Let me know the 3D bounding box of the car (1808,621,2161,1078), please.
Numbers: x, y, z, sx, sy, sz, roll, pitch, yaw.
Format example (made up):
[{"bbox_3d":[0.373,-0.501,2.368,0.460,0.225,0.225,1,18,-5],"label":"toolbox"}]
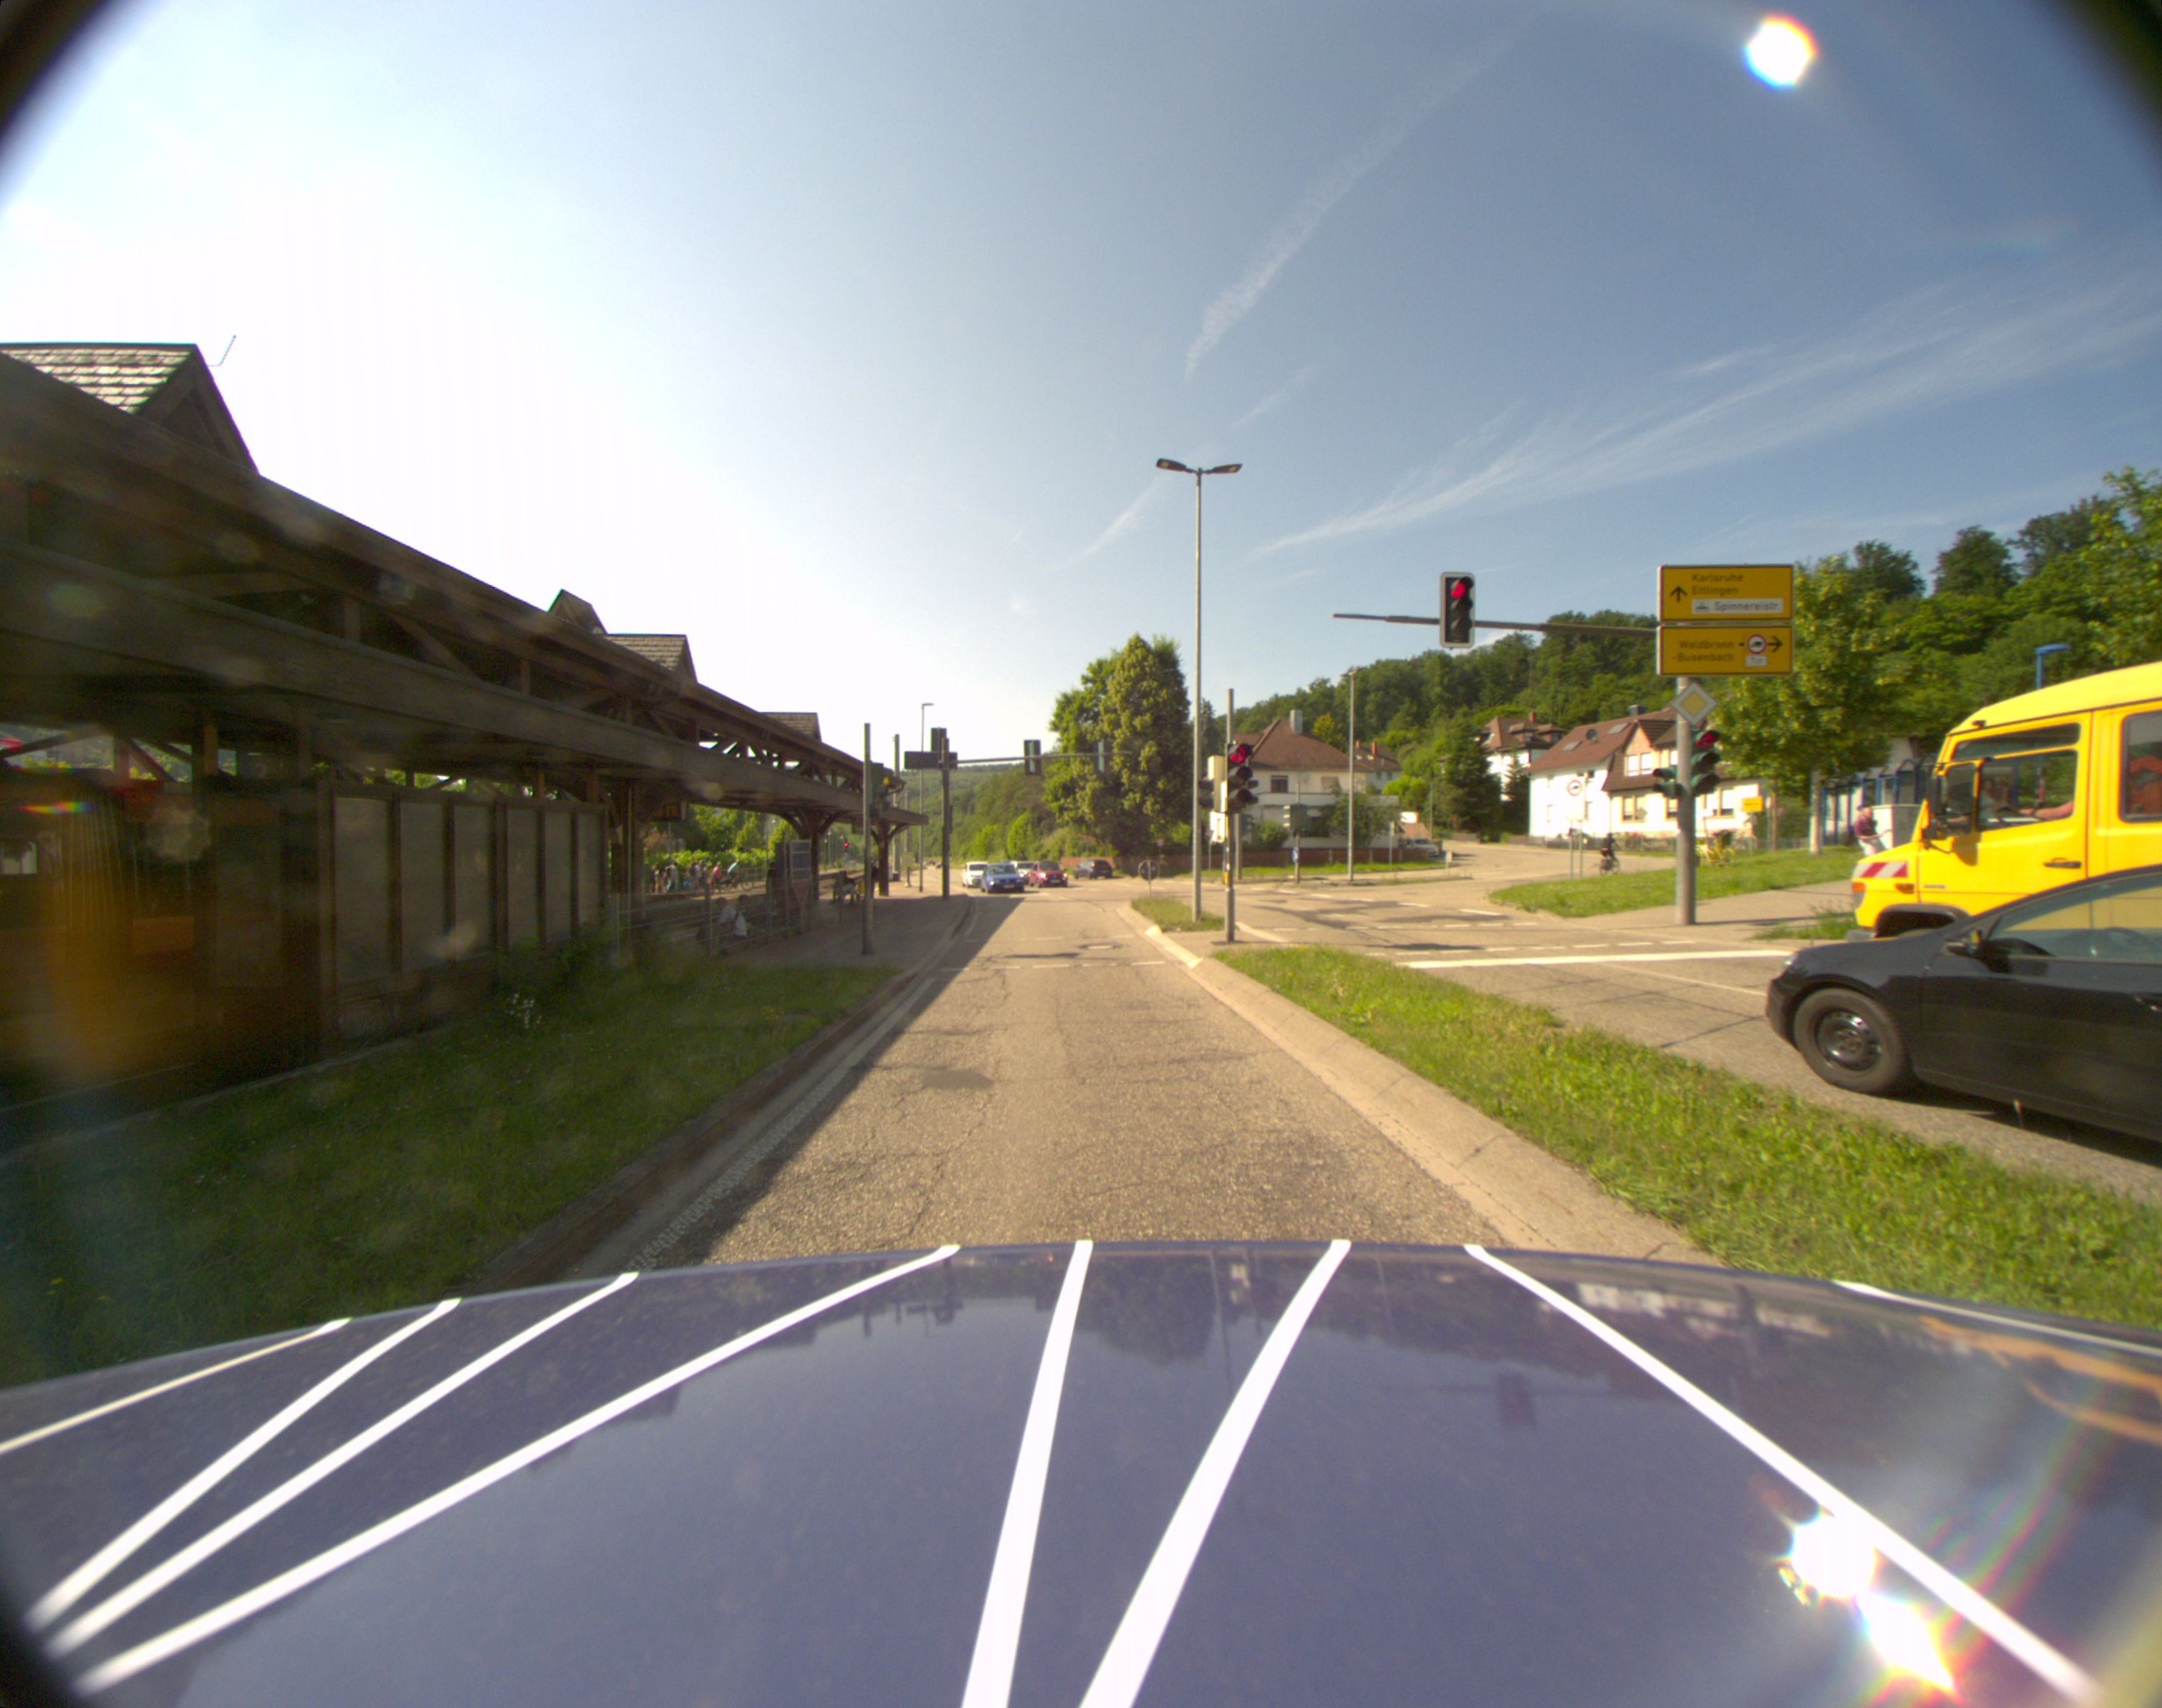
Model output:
[{"bbox_3d":[8.335,-0.065,4.085,2.474,2.993,6.464,-3,0,-2],"label":"car"}]

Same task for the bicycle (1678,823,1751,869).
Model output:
[{"bbox_3d":[18.735,-0.210,22.526,0.620,1.247,1.758,-6,-2,3],"label":"bicycle"}]

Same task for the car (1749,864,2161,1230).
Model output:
[{"bbox_3d":[5.321,0.809,3.003,1.750,1.454,4.043,-1,0,-2],"label":"car"}]

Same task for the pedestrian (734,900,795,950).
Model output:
[{"bbox_3d":[-6.107,1.361,14.693,0.847,0.869,0.807,-3,-1,-6],"label":"pedestrian"}]

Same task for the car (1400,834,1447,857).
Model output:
[{"bbox_3d":[26.998,-0.626,59.996,1.938,1.627,4.001,-3,-1,3],"label":"car"}]

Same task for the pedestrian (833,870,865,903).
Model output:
[{"bbox_3d":[-8.529,1.176,27.982,1.010,1.153,0.948,-2,1,-12],"label":"pedestrian"}]

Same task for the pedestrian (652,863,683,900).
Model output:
[{"bbox_3d":[-21.187,1.405,38.966,0.989,1.832,1.074,-2,-1,1],"label":"pedestrian"}]

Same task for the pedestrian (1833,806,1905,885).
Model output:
[{"bbox_3d":[17.294,-0.168,16.693,0.713,1.667,0.741,-3,0,-3],"label":"pedestrian"}]

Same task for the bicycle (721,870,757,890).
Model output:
[{"bbox_3d":[-20.115,1.497,44.655,1.816,1.049,0.602,-3,1,-33],"label":"bicycle"}]

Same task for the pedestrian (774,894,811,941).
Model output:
[{"bbox_3d":[-6.204,1.366,16.373,0.619,0.960,0.406,-3,0,-6],"label":"pedestrian"}]

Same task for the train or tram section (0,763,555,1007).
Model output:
[{"bbox_3d":[-16.481,0.457,14.940,2.864,3.345,14.349,-2,0,-3],"label":"train or tram section"}]

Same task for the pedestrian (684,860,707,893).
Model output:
[{"bbox_3d":[-20.205,1.160,39.824,0.905,1.674,0.821,-3,0,-22],"label":"pedestrian"}]

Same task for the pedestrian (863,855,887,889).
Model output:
[{"bbox_3d":[-10.876,0.964,40.077,0.916,1.726,1.251,-3,-1,-4],"label":"pedestrian"}]

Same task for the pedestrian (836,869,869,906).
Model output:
[{"bbox_3d":[-8.055,1.175,26.822,0.994,1.228,0.596,-3,0,-12],"label":"pedestrian"}]

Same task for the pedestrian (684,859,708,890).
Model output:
[{"bbox_3d":[-21.518,1.150,42.447,0.868,1.674,0.822,-3,0,-6],"label":"pedestrian"}]

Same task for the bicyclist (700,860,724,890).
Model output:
[{"bbox_3d":[-22.151,1.257,45.624,1.010,1.716,0.865,-3,0,-9],"label":"bicyclist"}]

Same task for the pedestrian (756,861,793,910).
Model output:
[{"bbox_3d":[-9.935,0.999,24.647,0.863,1.538,0.922,-1,-1,-4],"label":"pedestrian"}]

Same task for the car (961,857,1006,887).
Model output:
[{"bbox_3d":[-5.899,1.059,45.537,2.001,1.575,3.995,-3,0,-16],"label":"car"}]

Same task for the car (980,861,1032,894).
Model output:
[{"bbox_3d":[-3.671,1.076,36.501,1.867,1.474,4.296,-1,0,-14],"label":"car"}]

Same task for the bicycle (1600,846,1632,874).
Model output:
[{"bbox_3d":[23.742,0.253,33.701,2.003,1.155,0.733,-2,-1,-43],"label":"bicycle"}]

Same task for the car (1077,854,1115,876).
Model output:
[{"bbox_3d":[1.059,0.821,55.682,2.000,1.499,3.997,-3,-1,-10],"label":"car"}]

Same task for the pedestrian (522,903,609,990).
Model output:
[{"bbox_3d":[-7.195,1.273,10.635,0.744,1.110,0.667,-3,0,-6],"label":"pedestrian"}]

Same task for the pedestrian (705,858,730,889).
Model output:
[{"bbox_3d":[-20.489,1.102,42.859,0.901,1.674,0.824,-3,-1,28],"label":"pedestrian"}]

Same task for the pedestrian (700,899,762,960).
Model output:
[{"bbox_3d":[-6.151,1.313,13.384,0.744,0.976,0.769,-3,-1,-6],"label":"pedestrian"}]

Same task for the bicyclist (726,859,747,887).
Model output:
[{"bbox_3d":[-20.227,1.112,44.639,0.948,1.559,0.785,-3,1,-33],"label":"bicyclist"}]

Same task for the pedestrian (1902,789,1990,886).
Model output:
[{"bbox_3d":[17.944,-0.340,15.778,0.741,1.897,0.857,-5,1,-4],"label":"pedestrian"}]

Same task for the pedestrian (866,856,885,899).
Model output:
[{"bbox_3d":[-8.282,0.932,30.669,0.659,1.682,0.738,-1,0,-12],"label":"pedestrian"}]

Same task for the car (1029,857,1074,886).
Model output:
[{"bbox_3d":[-1.699,0.963,42.163,1.663,1.525,3.950,-1,0,-15],"label":"car"}]

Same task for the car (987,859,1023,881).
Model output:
[{"bbox_3d":[-5.732,1.210,56.732,1.982,1.495,3.982,-2,-1,-16],"label":"car"}]

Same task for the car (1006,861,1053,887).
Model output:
[{"bbox_3d":[-3.334,1.247,48.157,1.982,1.495,4.745,-2,-1,-16],"label":"car"}]

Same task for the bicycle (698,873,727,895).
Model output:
[{"bbox_3d":[-22.133,1.763,45.698,0.873,1.246,2.294,-3,-1,-9],"label":"bicycle"}]

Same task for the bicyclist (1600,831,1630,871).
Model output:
[{"bbox_3d":[23.640,-0.140,33.633,0.995,1.681,0.805,-3,-1,-43],"label":"bicyclist"}]
